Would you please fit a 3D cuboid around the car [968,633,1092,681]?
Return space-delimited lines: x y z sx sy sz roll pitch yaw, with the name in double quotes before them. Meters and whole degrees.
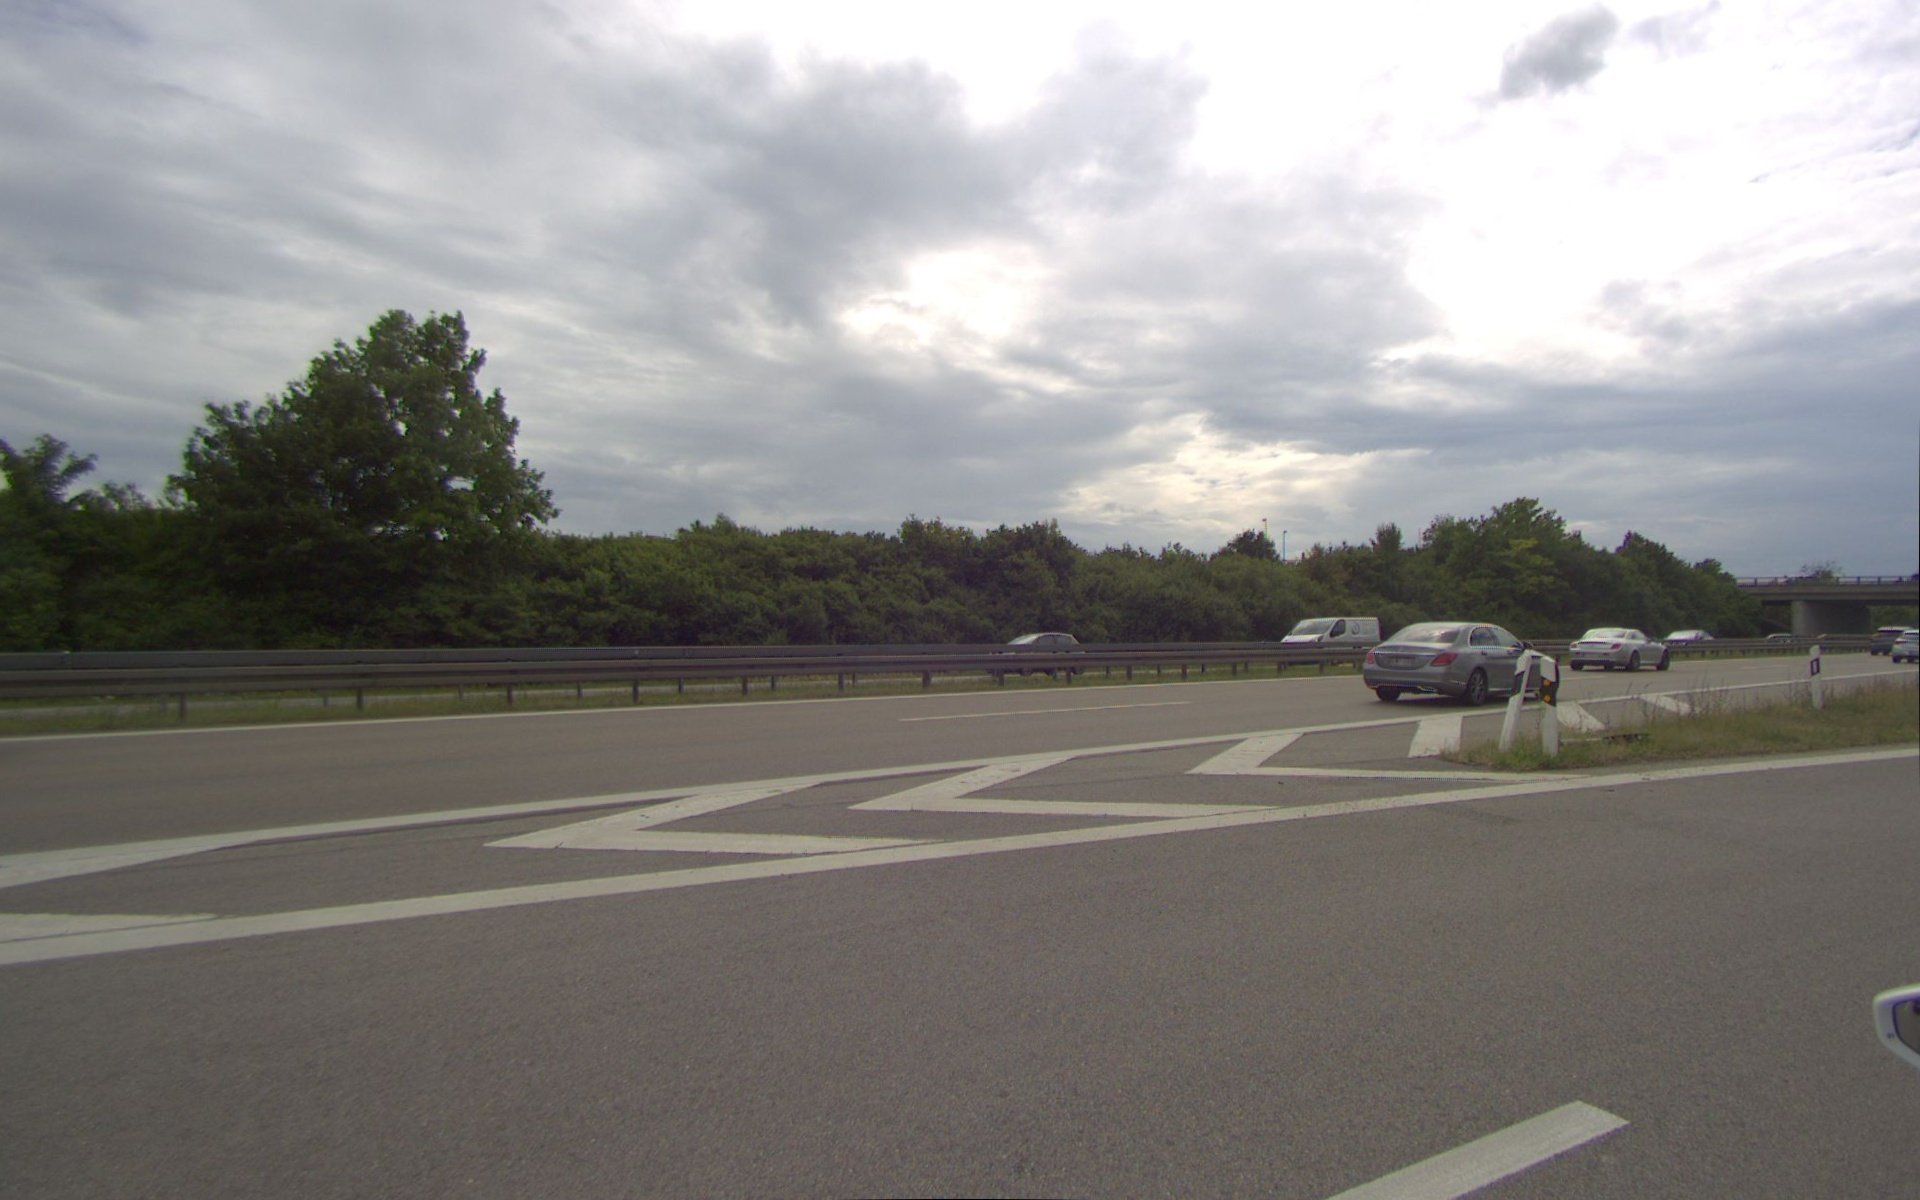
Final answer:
"car" 2.429 1.907 34.564 3.962 1.539 1.980 1 -2 -36

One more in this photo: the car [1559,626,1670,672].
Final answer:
"car" 21.511 1.573 32.961 4.267 1.417 1.766 1 -2 -38

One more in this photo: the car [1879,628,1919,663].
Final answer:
"car" 41.675 1.960 43.626 3.988 1.417 1.768 1 -1 -35

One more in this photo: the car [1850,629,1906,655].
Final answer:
"car" 52.925 2.393 57.891 4.268 1.417 1.766 1 -2 -38

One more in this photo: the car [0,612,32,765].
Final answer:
"car" -10.936 0.788 8.515 4.264 1.417 1.768 1 -1 -36

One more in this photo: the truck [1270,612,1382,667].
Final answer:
"truck" 14.516 1.548 39.765 4.676 2.040 1.979 1 -2 -37

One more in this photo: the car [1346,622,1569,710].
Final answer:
"car" 9.142 1.123 18.318 4.506 1.417 1.768 1 -1 -36
